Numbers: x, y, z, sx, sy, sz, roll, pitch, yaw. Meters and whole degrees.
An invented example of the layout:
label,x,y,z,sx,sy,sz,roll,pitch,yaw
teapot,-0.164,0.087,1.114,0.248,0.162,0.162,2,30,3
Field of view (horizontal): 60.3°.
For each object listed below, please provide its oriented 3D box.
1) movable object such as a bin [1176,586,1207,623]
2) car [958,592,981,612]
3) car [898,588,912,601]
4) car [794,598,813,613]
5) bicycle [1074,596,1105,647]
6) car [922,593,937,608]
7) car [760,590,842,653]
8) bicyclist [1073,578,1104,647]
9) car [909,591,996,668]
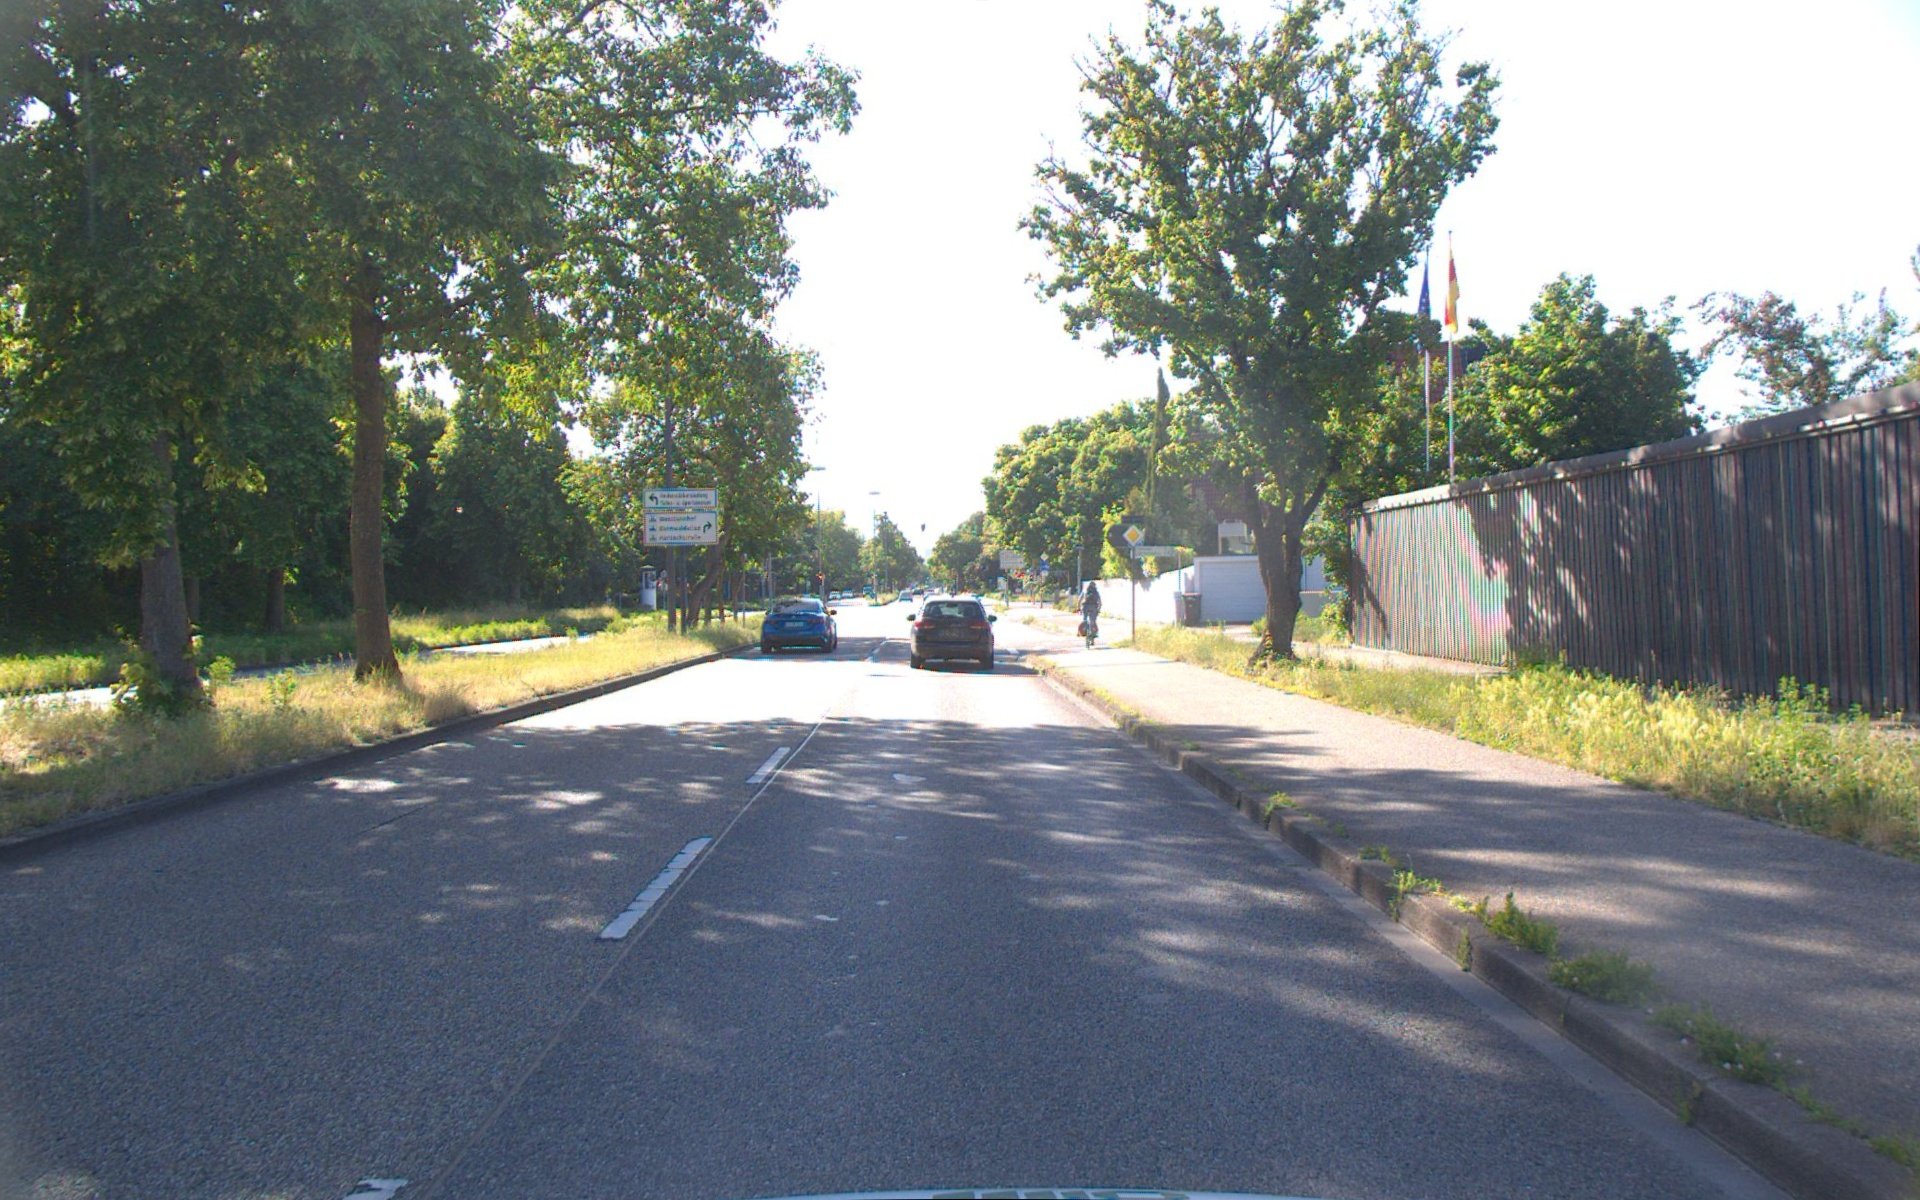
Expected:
label,x,y,z,sx,sy,sz,roll,pitch,yaw
movable object such as a bin,8.185,0.157,58.457,0.980,1.226,1.063,-3,-1,6
car,0.737,0.159,128.977,1.696,1.485,3.841,-1,0,2
car,-7.279,-0.729,219.936,1.788,1.643,3.839,2,1,-2
car,-18.844,0.714,199.526,1.873,1.733,4.407,1,-1,-1
bicycle,3.299,0.536,42.053,0.562,1.175,2.143,-4,1,8
car,-3.536,0.067,192.332,1.697,1.613,3.839,1,0,-2
car,-4.231,0.553,44.584,1.850,1.579,3.999,-1,0,-1
bicyclist,3.252,0.303,41.898,0.617,1.661,0.983,-4,1,8
car,-0.186,0.605,35.084,1.720,1.535,3.807,0,0,-1
